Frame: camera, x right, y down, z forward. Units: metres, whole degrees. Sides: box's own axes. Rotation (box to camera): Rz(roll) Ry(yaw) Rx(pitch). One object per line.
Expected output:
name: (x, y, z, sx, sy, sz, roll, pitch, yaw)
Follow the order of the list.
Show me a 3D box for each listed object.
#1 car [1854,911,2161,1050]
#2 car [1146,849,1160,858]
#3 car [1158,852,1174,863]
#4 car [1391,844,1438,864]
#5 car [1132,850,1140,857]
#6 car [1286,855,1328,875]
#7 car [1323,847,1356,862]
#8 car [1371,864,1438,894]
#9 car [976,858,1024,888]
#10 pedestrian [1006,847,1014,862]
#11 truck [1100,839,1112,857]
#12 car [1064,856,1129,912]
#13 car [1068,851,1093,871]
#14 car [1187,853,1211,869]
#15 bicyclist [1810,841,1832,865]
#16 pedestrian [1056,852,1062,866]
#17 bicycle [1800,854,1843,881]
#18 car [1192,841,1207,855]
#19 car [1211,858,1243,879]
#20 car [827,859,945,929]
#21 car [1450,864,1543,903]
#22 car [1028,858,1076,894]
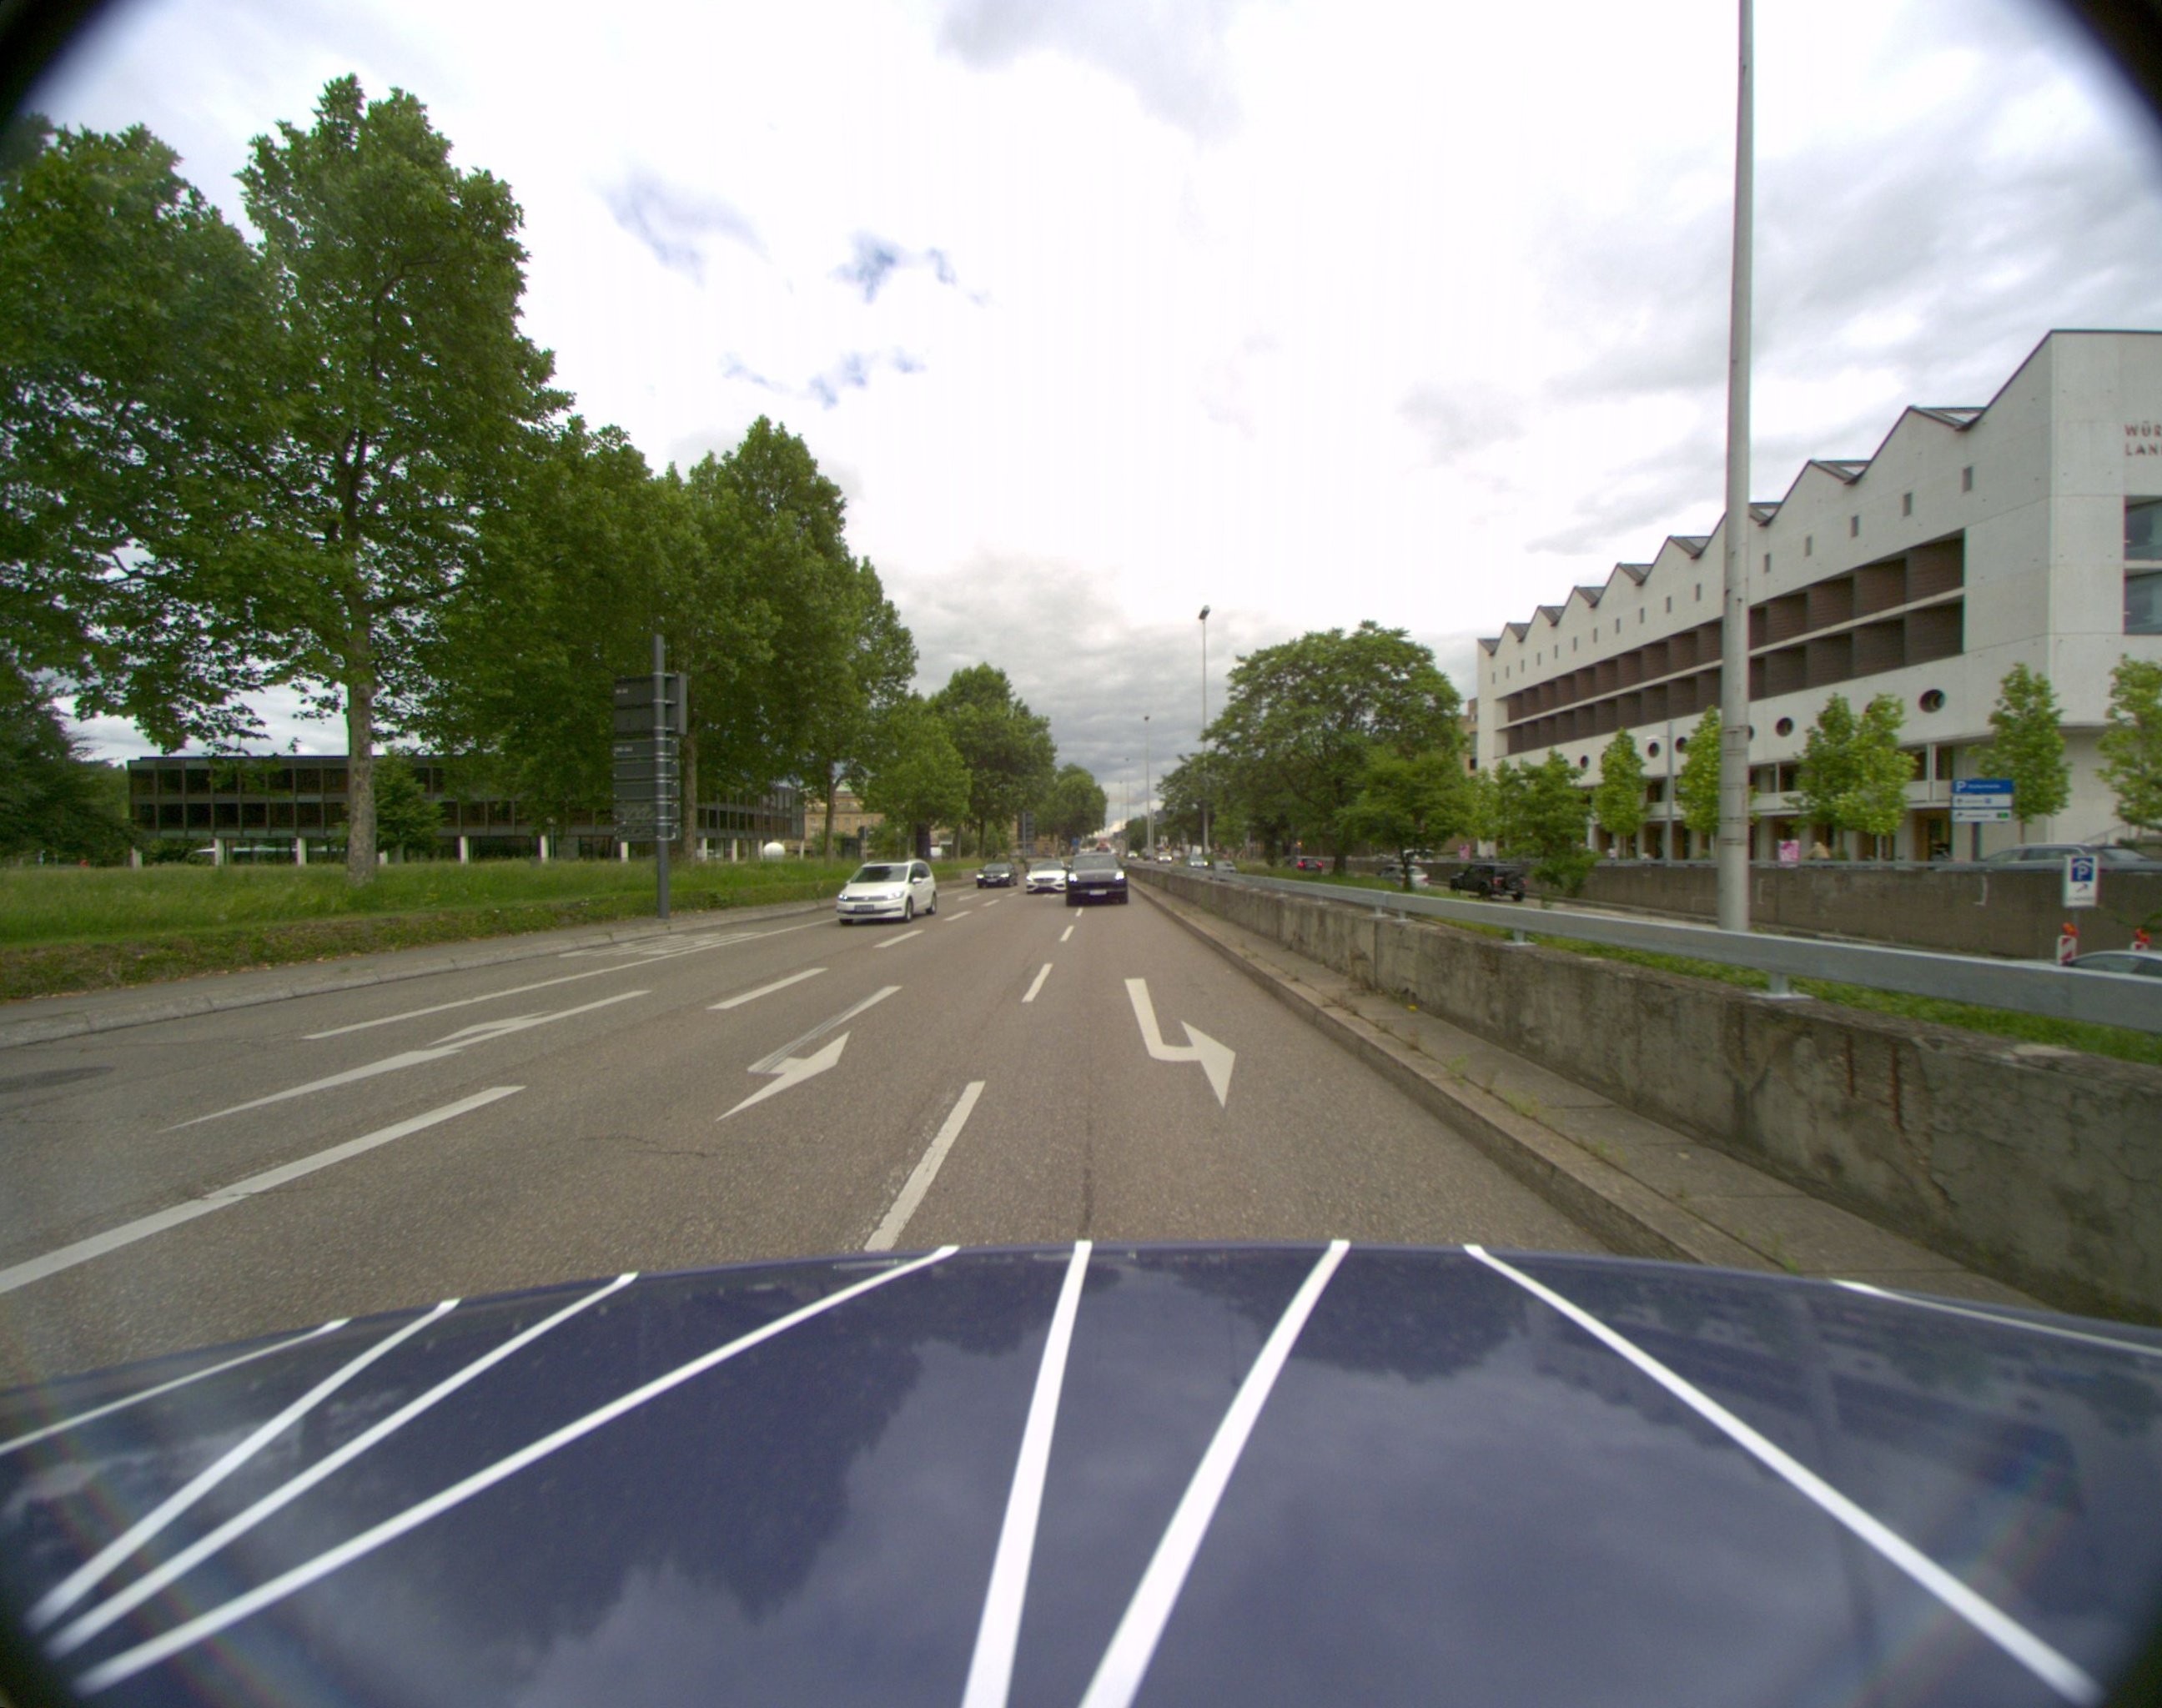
car: (16.800, 2.048, 13.260, 1.998, 1.665, 4.517, 2, 0, 1)
car: (11.733, -0.049, 124.204, 1.787, 1.406, 4.092, -1, 0, 0)
car: (11.535, 0.514, 103.435, 1.657, 1.406, 4.092, -1, 0, 0)
car: (28.574, 0.021, 65.237, 1.955, 1.619, 4.489, -1, 1, -3)
car: (11.424, -0.208, 157.673, 1.372, 1.390, 3.722, 2, 0, 1)
car: (17.185, 0.816, 58.042, 1.998, 1.390, 4.000, 2, 0, 1)
car: (28.516, 0.011, 83.941, 1.955, 1.619, 4.489, -1, 1, -3)
car: (17.888, 1.351, 42.215, 1.998, 1.390, 4.000, 2, 0, 1)
car: (-4.503, 1.009, 42.905, 1.936, 1.451, 4.527, -2, 1, 3)
pedestrian: (-10.004, 0.048, 107.470, 0.892, 2.002, 1.181, -3, 1, 2)
truck: (5.275, -1.365, 160.622, 2.357, 3.517, 9.425, -3, 1, 2)
car: (0.591, 0.887, 24.798, 1.904, 1.580, 4.733, -1, 0, 3)
car: (-0.019, 0.531, 60.525, 1.852, 1.481, 4.092, -1, 0, 2)
car: (11.152, 0.644, 72.043, 1.559, 1.406, 4.091, -1, 0, -1)
bicyclist: (36.841, -0.044, 37.830, 0.403, 1.153, 0.643, -3, 1, -1)
pedestrian: (-3.043, 0.712, 105.988, 0.792, 2.001, 0.741, -1, -1, 2)
bicycle: (36.873, 0.667, 37.862, 0.403, 1.265, 1.699, -3, 1, -1)
car: (17.138, -0.887, 109.882, 1.609, 1.844, 4.000, -3, 1, 2)
car: (10.736, 1.069, 56.183, 1.559, 1.406, 4.092, -1, 0, 0)
car: (-5.183, 1.002, 20.845, 1.998, 1.630, 4.304, -1, 0, 2)
car: (21.207, 1.462, 39.036, 2.161, 1.635, 4.515, 2, 2, -1)
car: (-1.248, 0.954, 34.541, 1.799, 1.411, 4.527, -1, 0, 2)
